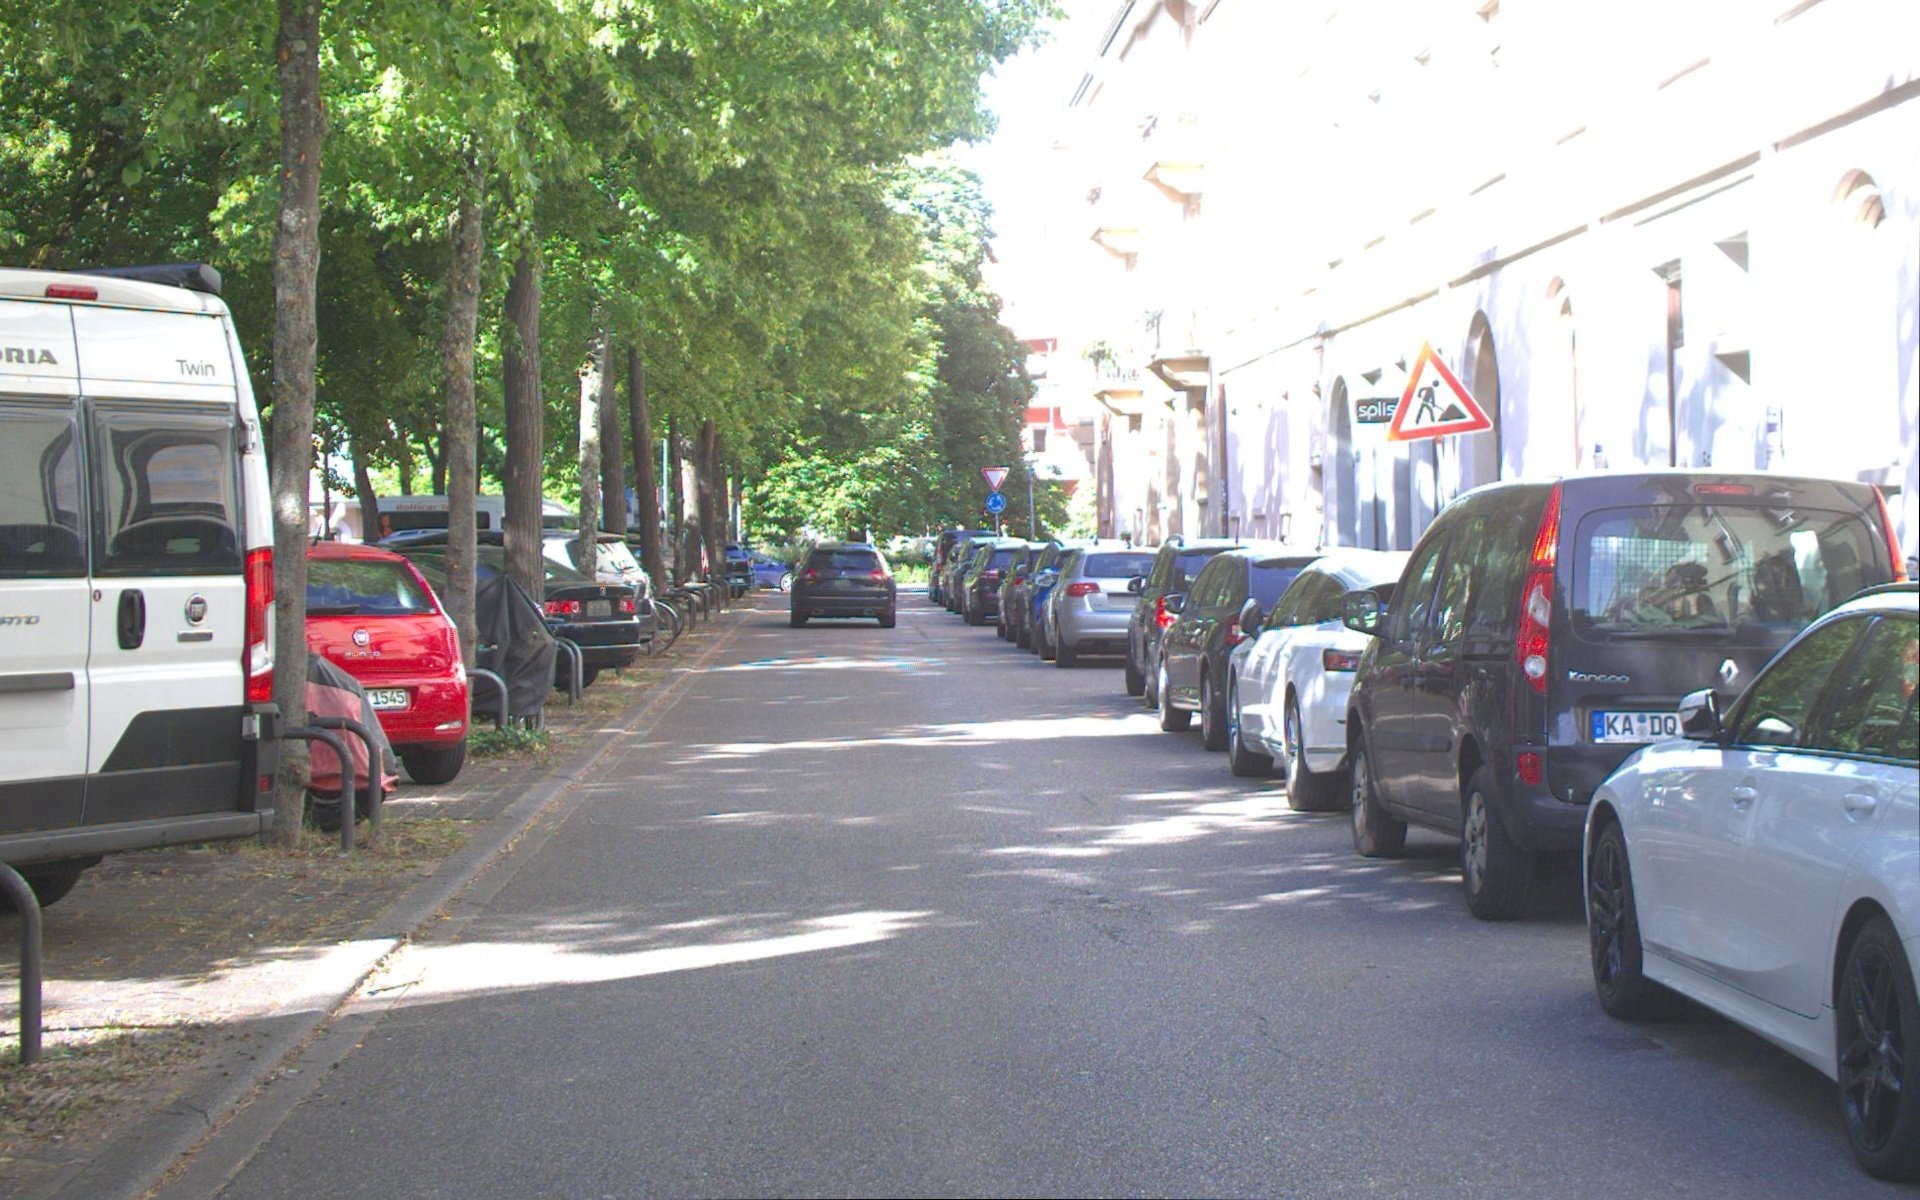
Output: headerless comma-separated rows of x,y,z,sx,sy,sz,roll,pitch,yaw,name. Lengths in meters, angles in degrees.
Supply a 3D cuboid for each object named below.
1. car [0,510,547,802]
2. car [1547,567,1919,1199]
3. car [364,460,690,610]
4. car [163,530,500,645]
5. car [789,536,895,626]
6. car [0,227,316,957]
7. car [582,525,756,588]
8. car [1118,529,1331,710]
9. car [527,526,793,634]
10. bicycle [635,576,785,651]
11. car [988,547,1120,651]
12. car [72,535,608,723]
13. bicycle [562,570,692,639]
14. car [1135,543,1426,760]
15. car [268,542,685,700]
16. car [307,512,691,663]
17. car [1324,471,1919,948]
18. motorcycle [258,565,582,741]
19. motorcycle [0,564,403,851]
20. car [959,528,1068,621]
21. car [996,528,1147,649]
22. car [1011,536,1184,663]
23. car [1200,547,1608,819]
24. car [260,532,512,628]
-4.369,0.300,21.244,1.659,1.612,3.878,-2,1,-42,car
2.915,0.683,9.516,1.704,1.506,4.284,-1,1,-2,car
-8.942,-1.315,71.145,6.068,2.614,2.454,-4,-1,14,car
-8.347,-0.192,45.639,4.108,1.468,1.869,0,1,27,car
-2.028,-0.363,59.941,1.714,1.478,4.145,-1,1,-1,car
-5.833,-0.061,14.013,6.318,2.550,2.334,1,0,30,car
-7.180,-1.067,84.582,4.087,1.461,1.867,1,0,-10,car
2.357,0.132,31.463,1.580,1.545,4.042,0,1,-1,car
-4.649,-0.323,53.270,3.687,1.590,1.770,1,1,23,car
-3.206,0.169,44.003,1.899,0.916,0.379,1,1,18,bicycle
1.357,-0.047,51.050,1.692,1.463,4.005,1,1,-2,car
-5.043,0.213,27.817,4.151,1.420,1.712,0,0,30,car
-4.796,0.065,49.490,1.812,0.990,0.425,0,1,14,bicycle
2.336,0.325,25.935,1.599,1.487,3.967,-1,1,-3,car
-4.845,0.205,34.256,4.014,1.469,1.623,-1,1,33,car
-5.386,-0.170,40.168,4.081,1.647,1.860,1,1,25,car
2.807,0.382,15.105,1.771,1.787,3.990,-1,1,-3,car
-3.875,0.368,24.764,2.148,1.225,0.881,0,1,7,motorcycle
-3.983,0.516,17.133,2.318,1.330,0.969,-2,1,-11,motorcycle
0.925,-0.478,61.561,1.805,1.558,4.321,-1,1,-1,car
1.469,-0.184,46.660,1.767,1.546,4.184,-1,1,-2,car
1.613,-0.046,41.600,1.769,1.426,4.291,-1,1,-2,car
2.530,0.406,20.628,1.606,1.415,4.569,-1,1,-3,car
-9.794,-0.343,58.661,3.909,1.550,1.843,-1,1,29,car
